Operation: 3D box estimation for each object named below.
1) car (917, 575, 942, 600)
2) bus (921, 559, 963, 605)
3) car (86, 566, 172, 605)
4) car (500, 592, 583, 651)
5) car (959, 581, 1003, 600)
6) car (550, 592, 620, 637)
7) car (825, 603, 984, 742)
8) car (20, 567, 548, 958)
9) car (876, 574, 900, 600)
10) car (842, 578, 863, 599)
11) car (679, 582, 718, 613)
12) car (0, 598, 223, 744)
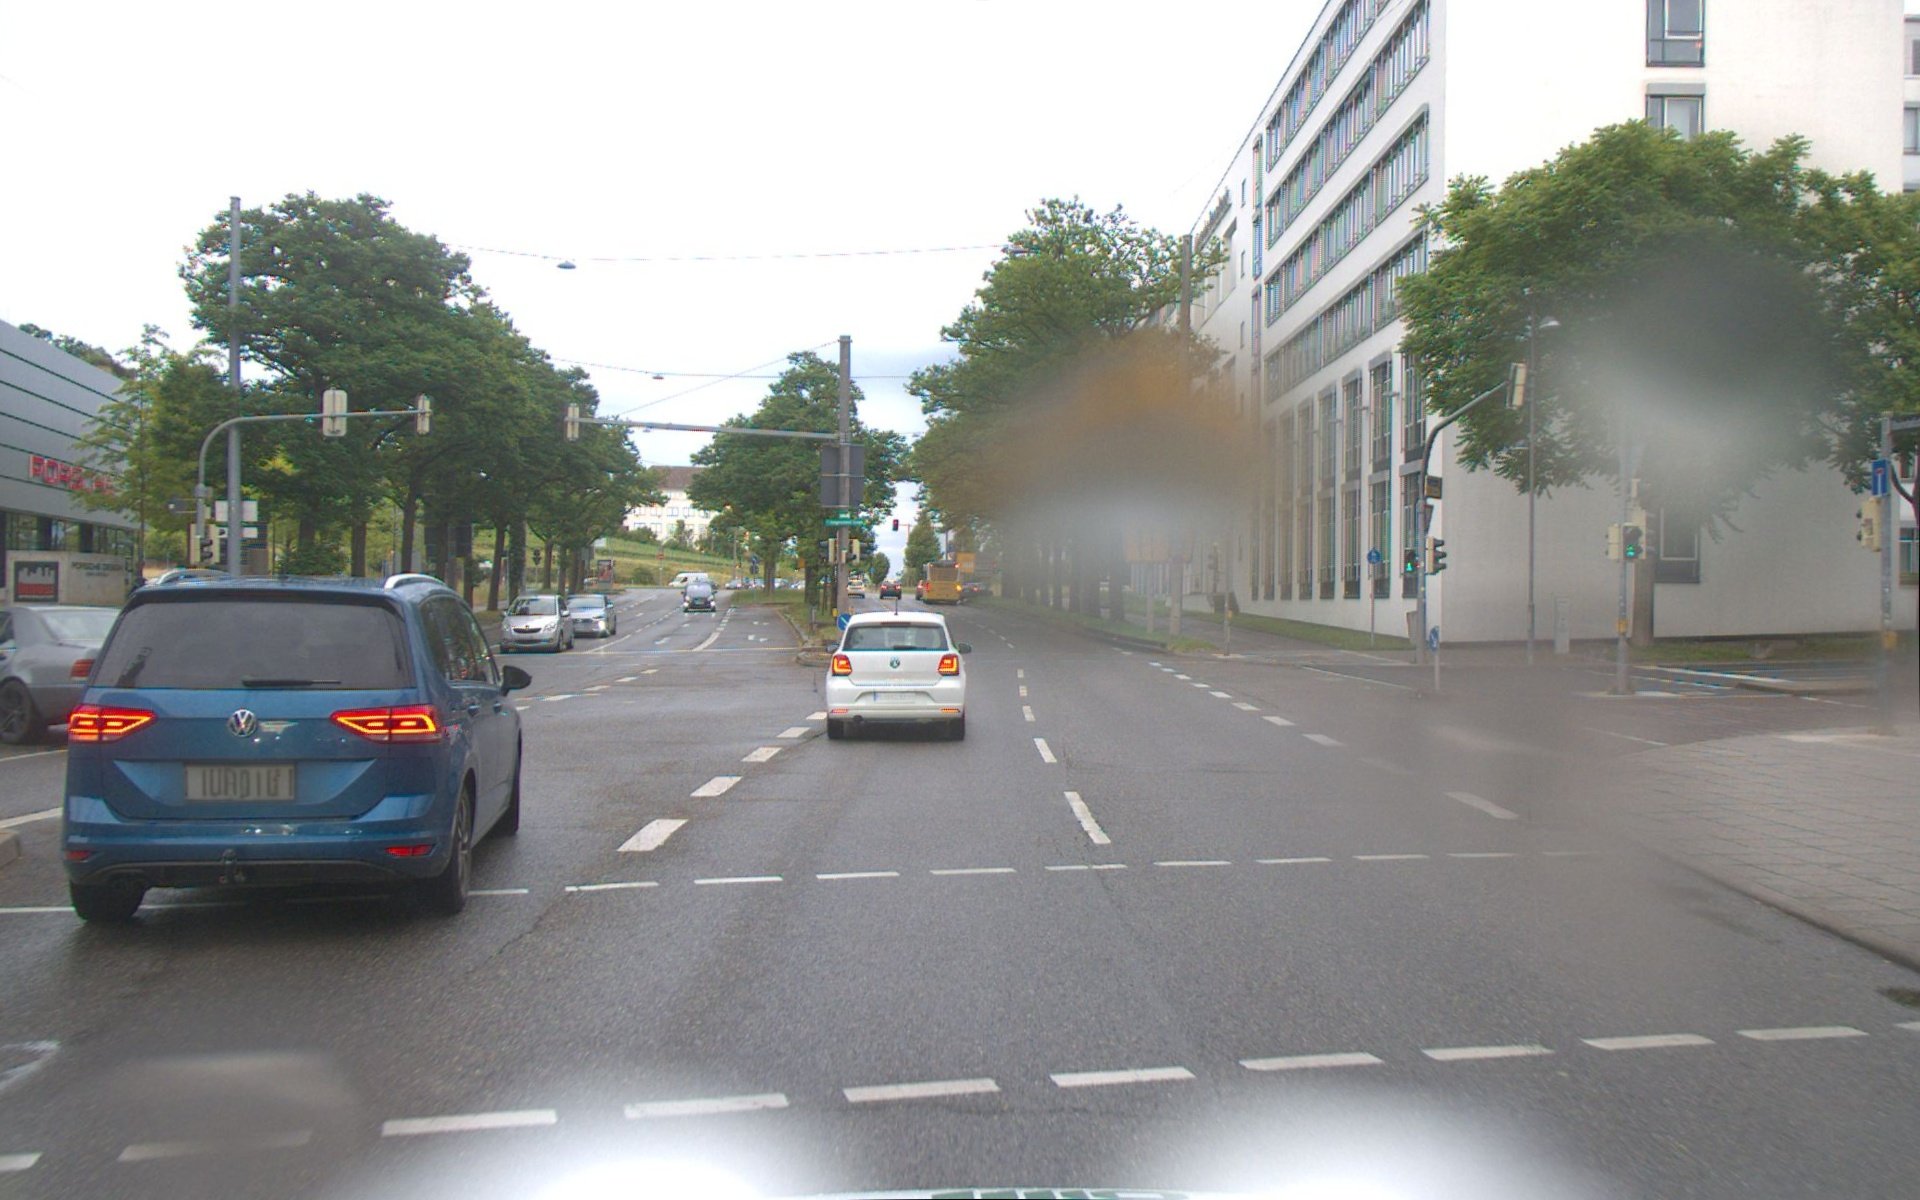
[{"bbox_3d":[-2.627,-1.062,140.177,1.954,2.049,3.997,0,0,-3],"label":"car"},{"bbox_3d":[-1.455,-1.416,127.027,2.772,3.323,9.994,1,1,-3],"label":"bus"},{"bbox_3d":[-44.224,-0.790,88.095,3.933,2.049,1.986,0,1,-23],"label":"car"},{"bbox_3d":[-11.743,0.561,46.568,1.716,1.547,3.812,-1,1,-6],"label":"car"},{"bbox_3d":[1.793,-0.761,139.135,1.670,1.542,3.805,0,0,42],"label":"car"},{"bbox_3d":[-12.910,0.467,57.226,1.779,1.436,4.650,-1,1,-6],"label":"car"},{"bbox_3d":[-0.691,0.826,20.534,1.758,1.528,3.998,1,0,-2],"label":"car"},{"bbox_3d":[-3.359,0.681,9.085,1.739,1.624,4.189,0,0,-9],"label":"car"},{"bbox_3d":[-6.064,-1.078,139.140,1.954,2.049,3.997,0,0,-3],"label":"car"},{"bbox_3d":[-9.170,-0.943,140.594,1.759,1.772,3.997,0,0,-4],"label":"car"},{"bbox_3d":[-15.100,-0.184,95.731,1.956,1.644,5.113,-1,1,-7],"label":"car"},{"bbox_3d":[-10.595,0.763,19.369,3.965,1.537,1.846,-1,0,35],"label":"car"}]
